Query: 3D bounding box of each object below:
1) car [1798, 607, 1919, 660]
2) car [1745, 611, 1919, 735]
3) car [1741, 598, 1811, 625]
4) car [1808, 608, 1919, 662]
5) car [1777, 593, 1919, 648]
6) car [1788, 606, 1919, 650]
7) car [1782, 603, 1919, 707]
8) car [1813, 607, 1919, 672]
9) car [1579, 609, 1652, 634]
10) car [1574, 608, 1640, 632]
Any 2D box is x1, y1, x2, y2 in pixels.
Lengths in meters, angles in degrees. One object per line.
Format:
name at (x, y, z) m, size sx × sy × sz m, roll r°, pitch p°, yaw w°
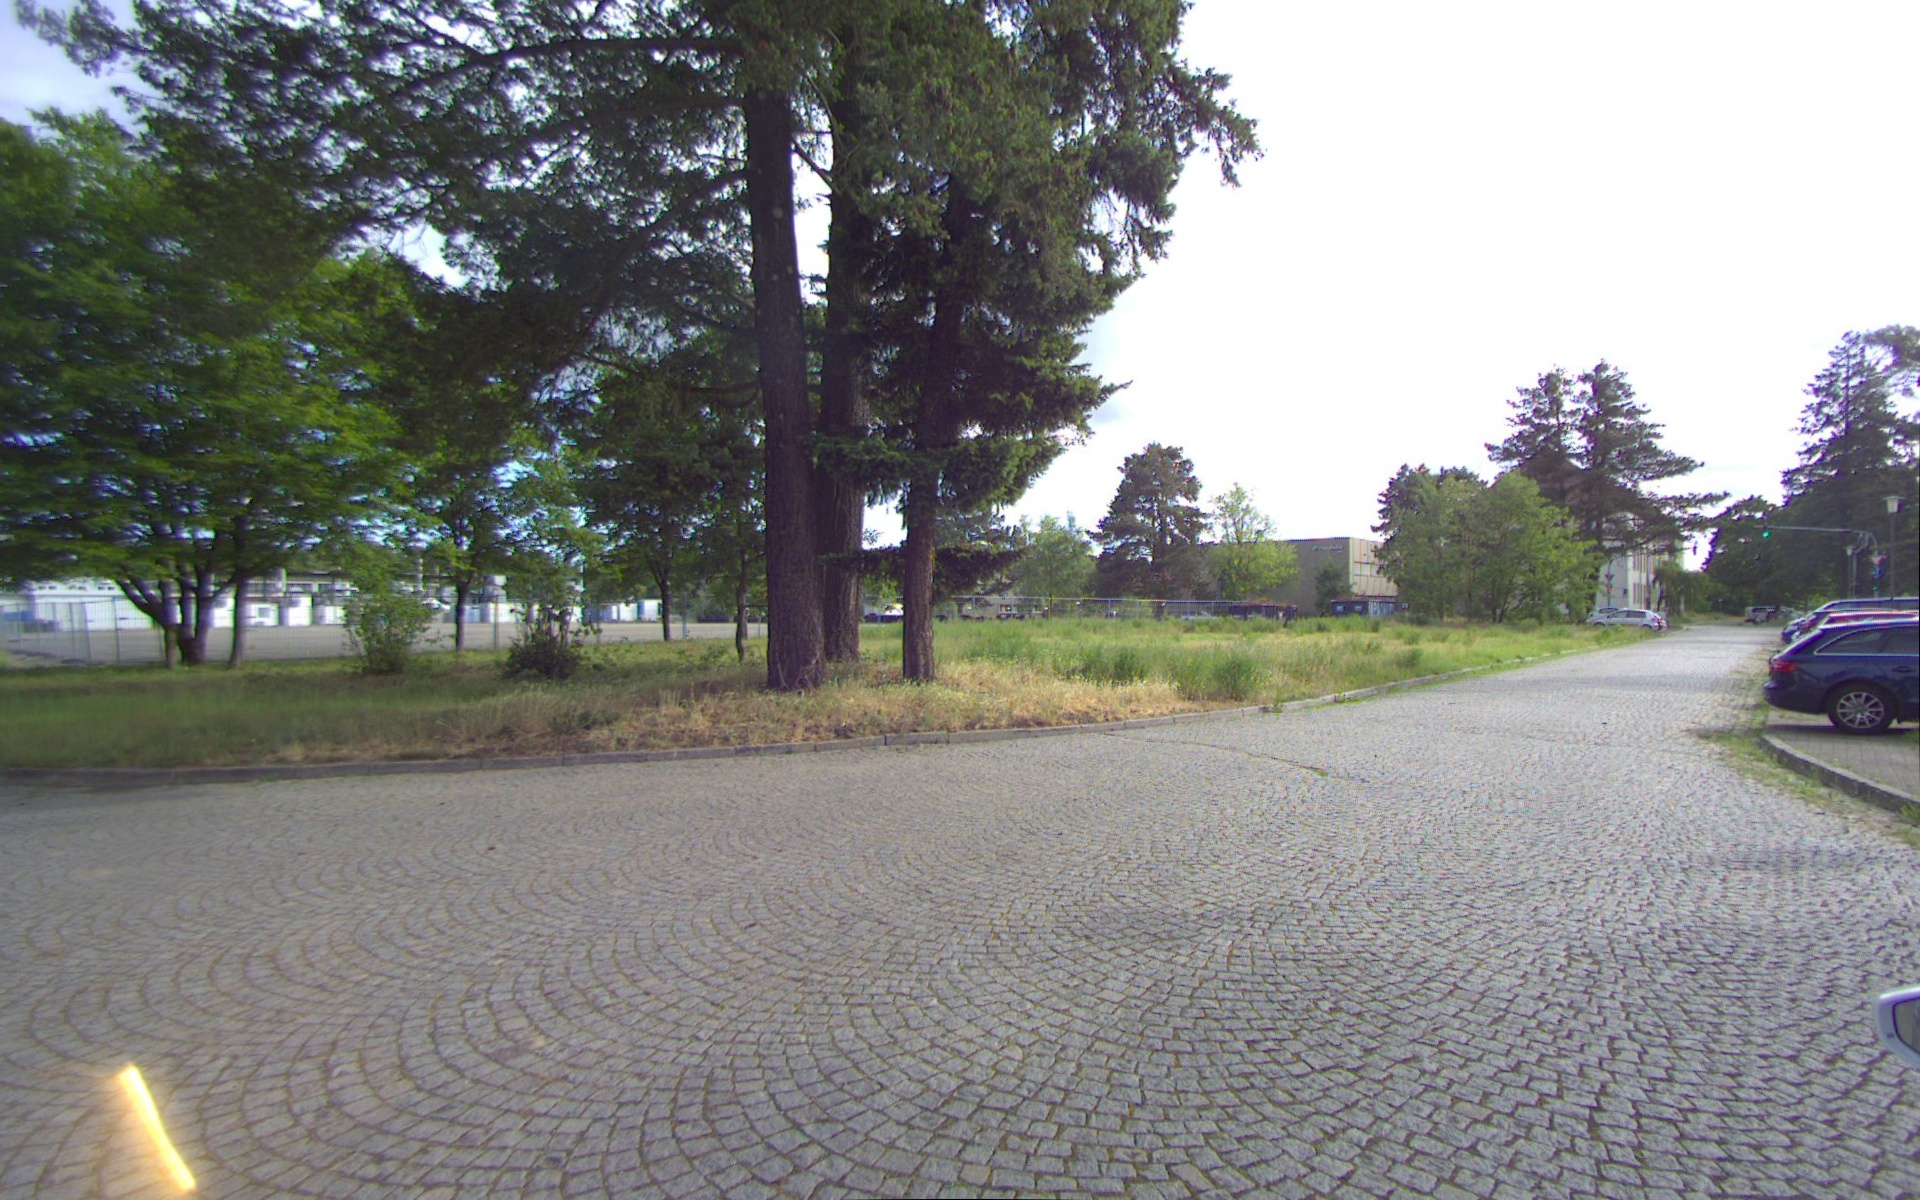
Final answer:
car at (29.116, 1.037, 31.808) m, size 3.857 × 1.625 × 1.813 m, roll 0°, pitch -1°, yaw 38°
car at (12.555, 0.874, 12.387) m, size 4.385 × 1.499 × 1.672 m, roll -2°, pitch -2°, yaw 44°
car at (89.631, 1.300, 110.456) m, size 5.706 × 2.596 × 2.760 m, roll -4°, pitch -2°, yaw 35°
car at (27.550, 1.008, 29.596) m, size 3.896 × 1.540 × 1.699 m, roll -1°, pitch -2°, yaw 41°
car at (34.529, 0.801, 38.588) m, size 4.764 × 1.890 × 2.152 m, roll -4°, pitch -2°, yaw 39°
car at (32.781, 1.028, 36.658) m, size 3.873 × 1.411 × 1.735 m, roll -4°, pitch -2°, yaw 39°
car at (15.757, 0.854, 16.004) m, size 4.089 × 1.594 × 1.782 m, roll -1°, pitch 0°, yaw 40°
car at (22.670, 0.910, 23.691) m, size 3.839 × 1.498 × 1.664 m, roll -2°, pitch -2°, yaw 40°
car at (41.056, 1.347, 62.927) m, size 3.673 × 1.457 × 1.620 m, roll -3°, pitch -1°, yaw 37°
car at (43.619, 1.367, 67.806) m, size 3.669 × 1.456 × 1.622 m, roll -3°, pitch -2°, yaw 33°
